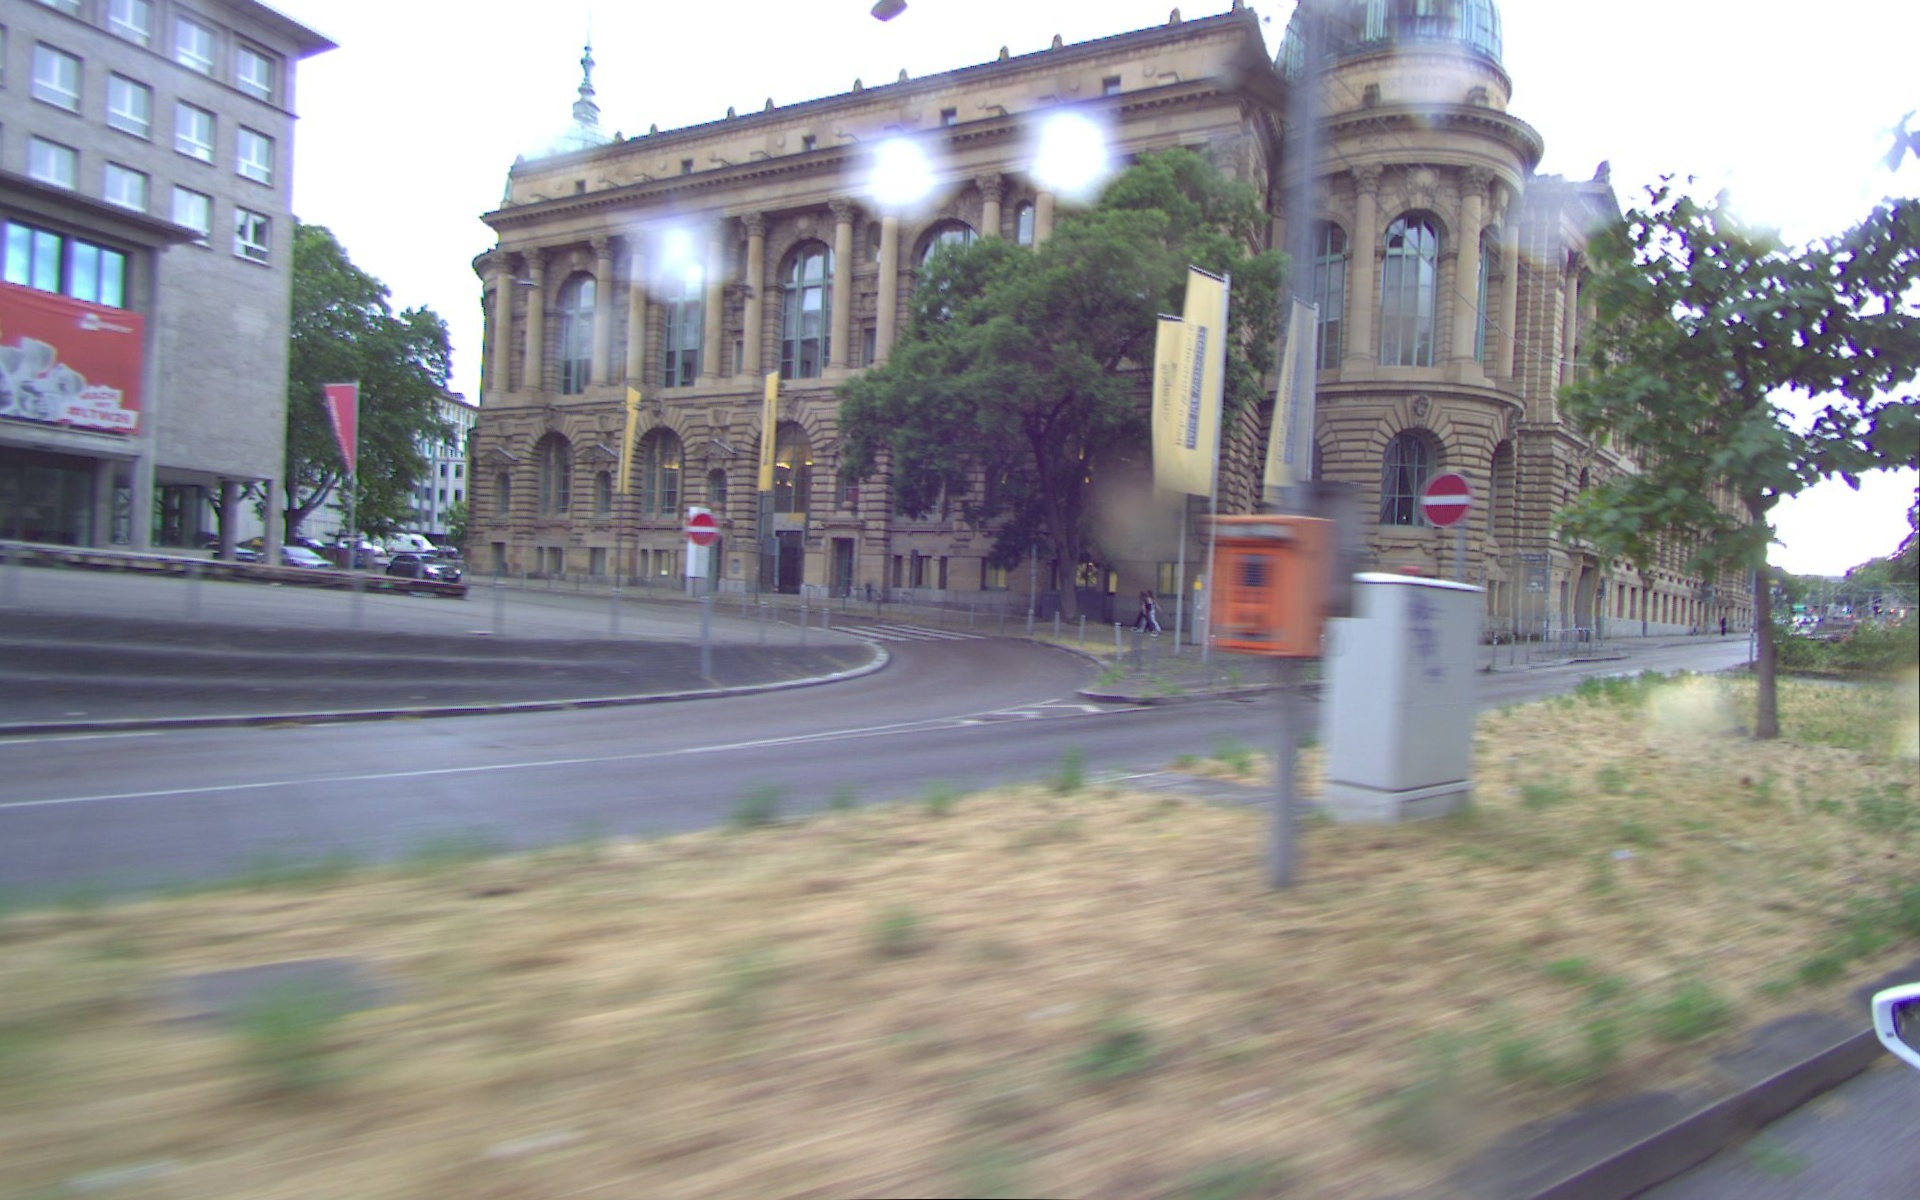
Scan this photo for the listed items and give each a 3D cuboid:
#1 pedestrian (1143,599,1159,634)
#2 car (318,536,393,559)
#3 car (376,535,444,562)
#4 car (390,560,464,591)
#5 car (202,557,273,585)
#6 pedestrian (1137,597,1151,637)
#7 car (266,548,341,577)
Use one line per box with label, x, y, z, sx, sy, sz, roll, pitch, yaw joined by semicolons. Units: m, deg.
pedestrian;7.629;0.655;40.056;0.433;1.363;0.643;2;1;26
car;-60.999;-5.304;101.408;6.167;1.983;2.315;2;1;3
car;-59.775;-5.576;109.197;6.167;2.595;2.315;2;1;3
car;-27.036;-1.259;50.935;3.557;1.422;1.617;2;1;29
car;-36.906;-1.497;51.286;3.558;1.265;1.616;2;1;30
pedestrian;7.223;0.651;39.362;0.380;1.549;0.441;2;1;26
car;-31.773;-1.804;48.610;3.558;1.265;1.616;2;1;30
